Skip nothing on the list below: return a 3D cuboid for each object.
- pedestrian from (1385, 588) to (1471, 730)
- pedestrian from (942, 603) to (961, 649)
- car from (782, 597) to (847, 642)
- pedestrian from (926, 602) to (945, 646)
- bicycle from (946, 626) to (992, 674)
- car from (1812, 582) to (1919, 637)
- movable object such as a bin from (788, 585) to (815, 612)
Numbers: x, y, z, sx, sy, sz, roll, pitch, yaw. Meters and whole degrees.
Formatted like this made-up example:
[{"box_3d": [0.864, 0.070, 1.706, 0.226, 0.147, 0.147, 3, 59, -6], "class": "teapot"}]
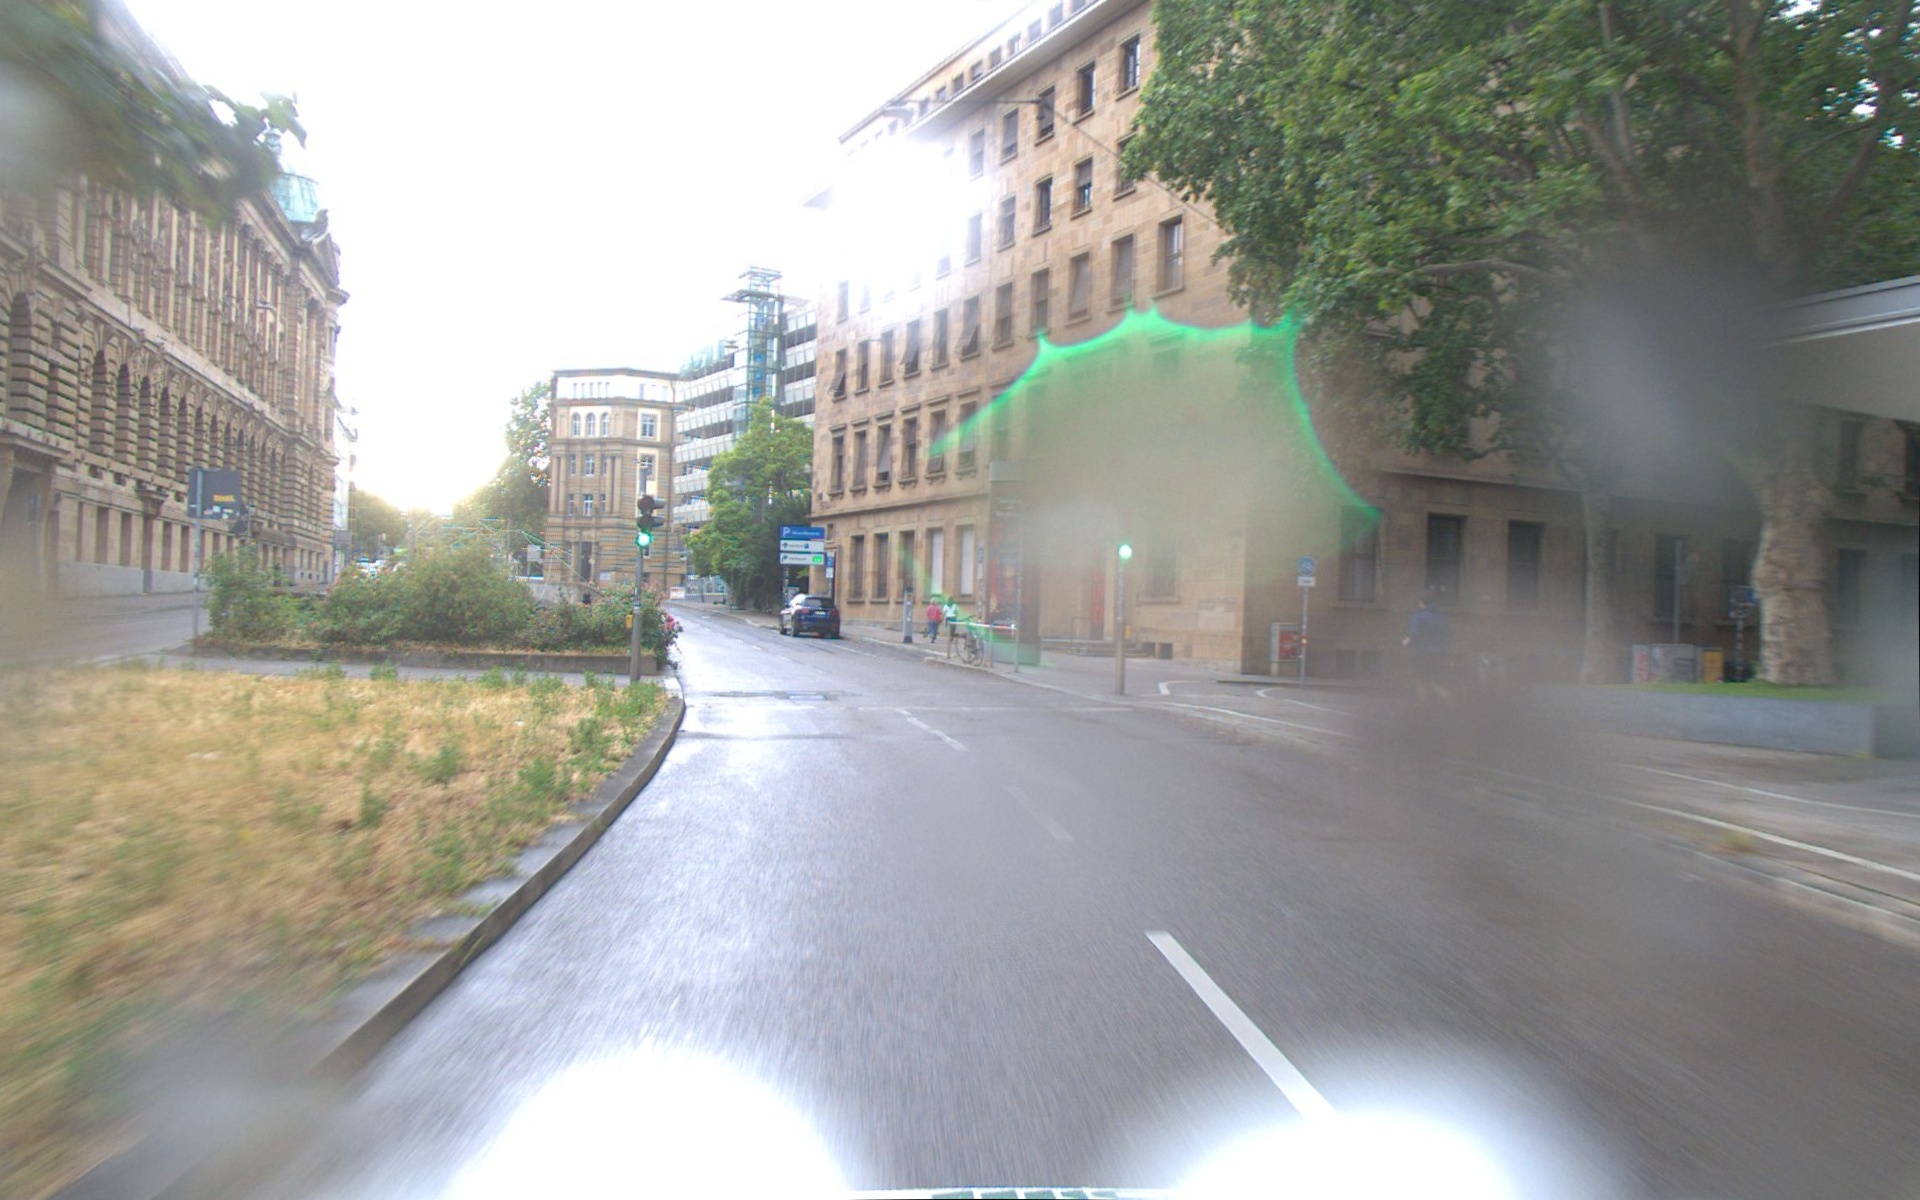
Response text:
[{"box_3d": [6.121, 0.752, 21.670, 0.764, 1.803, 0.862, 2, 0, -6], "class": "pedestrian"}, {"box_3d": [-0.307, 0.917, 58.929, 0.515, 1.630, 0.672, 2, 0, -12], "class": "pedestrian"}, {"box_3d": [-5.772, 0.733, 65.040, 1.739, 1.647, 4.139, 2, -1, -16], "class": "car"}, {"box_3d": [-0.871, 0.851, 58.568, 0.515, 1.518, 0.672, 2, 0, -11], "class": "pedestrian"}, {"box_3d": [0.199, 1.139, 37.950, 0.481, 1.030, 1.919, 2, 0, -16], "class": "bicycle"}, {"box_3d": [27.841, 0.259, 48.860, 1.863, 1.488, 4.499, -1, 2, -29], "class": "car"}, {"box_3d": [-7.972, -0.077, 83.251, 1.218, 1.333, 1.229, 0, 0, -13], "class": "movable object such as a bin"}]
